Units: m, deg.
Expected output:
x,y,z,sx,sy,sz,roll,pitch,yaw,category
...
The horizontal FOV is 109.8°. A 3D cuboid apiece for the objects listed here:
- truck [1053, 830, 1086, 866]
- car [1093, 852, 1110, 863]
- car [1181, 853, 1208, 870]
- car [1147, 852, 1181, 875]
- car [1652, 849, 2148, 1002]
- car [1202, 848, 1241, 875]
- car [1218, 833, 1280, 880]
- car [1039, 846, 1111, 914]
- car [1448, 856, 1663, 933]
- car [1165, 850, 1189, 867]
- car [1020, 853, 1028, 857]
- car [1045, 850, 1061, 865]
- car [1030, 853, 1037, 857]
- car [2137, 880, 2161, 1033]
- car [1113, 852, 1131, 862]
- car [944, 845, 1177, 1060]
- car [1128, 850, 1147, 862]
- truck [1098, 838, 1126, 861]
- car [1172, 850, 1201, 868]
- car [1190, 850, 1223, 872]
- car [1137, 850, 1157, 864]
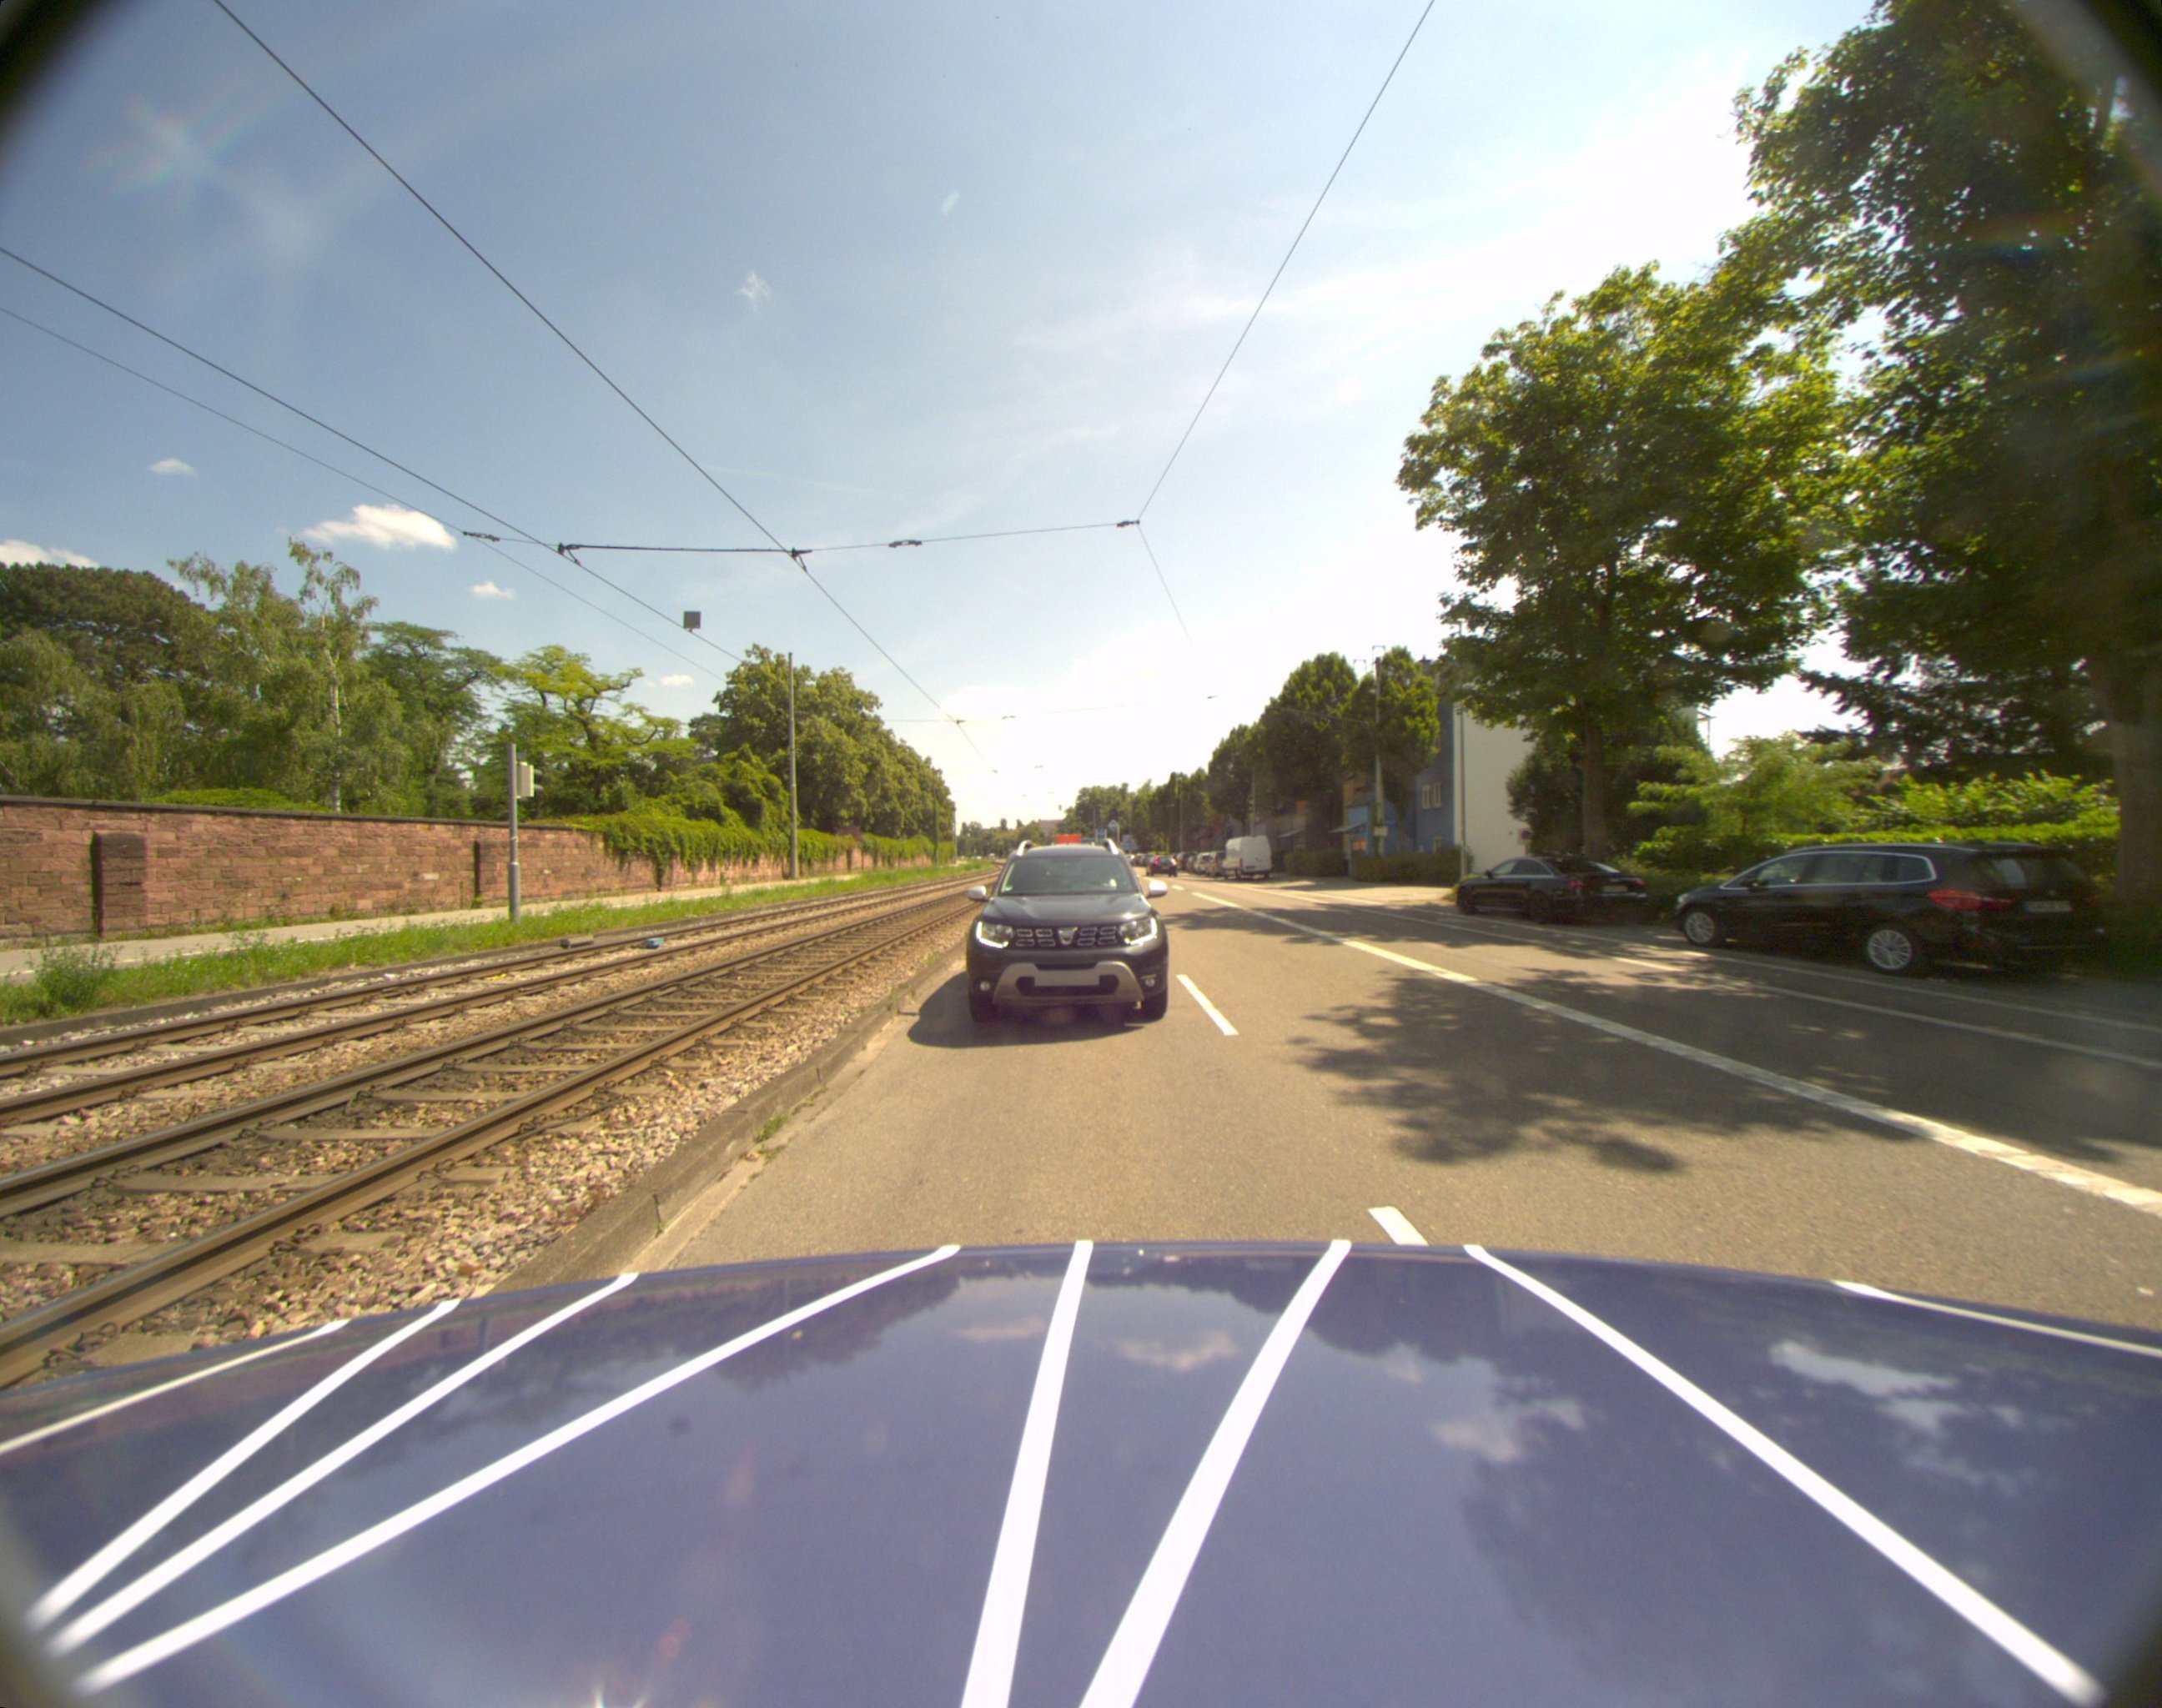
x,y,z,sx,sy,sz,roll,pitch,yaw,category
-1.284,-0.621,78.965,2.846,3.574,8.701,-1,1,-4,truck
2.754,0.490,103.773,1.780,1.451,4.192,1,0,-7,car
9.998,0.653,67.373,1.603,1.462,4.086,-1,0,-2,car
5.475,0.613,50.751,1.682,1.390,4.004,2,0,-2,car
10.577,0.764,10.500,1.779,1.595,4.636,-2,0,-2,car
10.417,0.520,56.858,1.811,1.884,5.361,-3,0,0,car
10.609,0.152,48.647,2.329,2.635,7.035,-4,0,1,car
-0.182,0.654,21.882,1.801,1.683,4.143,-2,1,-1,car
10.459,0.797,17.284,1.779,1.447,4.803,-1,0,-2,car
9.867,0.450,78.285,1.660,1.608,4.283,0,1,-3,car
-17.852,0.386,238.067,2.000,1.379,3.997,0,0,-8,car
-3.947,0.518,105.603,1.999,2.002,3.998,-1,1,-5,car
-15.062,0.356,239.845,2.000,1.379,3.997,0,0,-8,car
10.676,0.899,4.664,1.779,1.365,4.696,-2,0,-2,car
5.895,0.378,109.895,1.661,1.402,4.393,0,0,-8,car
-0.192,0.764,8.388,1.802,1.652,4.787,-1,0,-1,car
7.500,0.283,101.327,1.661,1.600,4.170,-1,0,-9,car
4.939,-0.685,121.726,2.840,3.528,8.164,-3,0,-9,truck
10.068,0.485,72.840,1.756,1.706,4.886,0,0,-3,car
10.242,0.554,62.335,1.721,1.742,4.903,-1,0,-1,car
8.325,0.371,95.879,1.660,1.600,4.685,-3,0,-6,car
